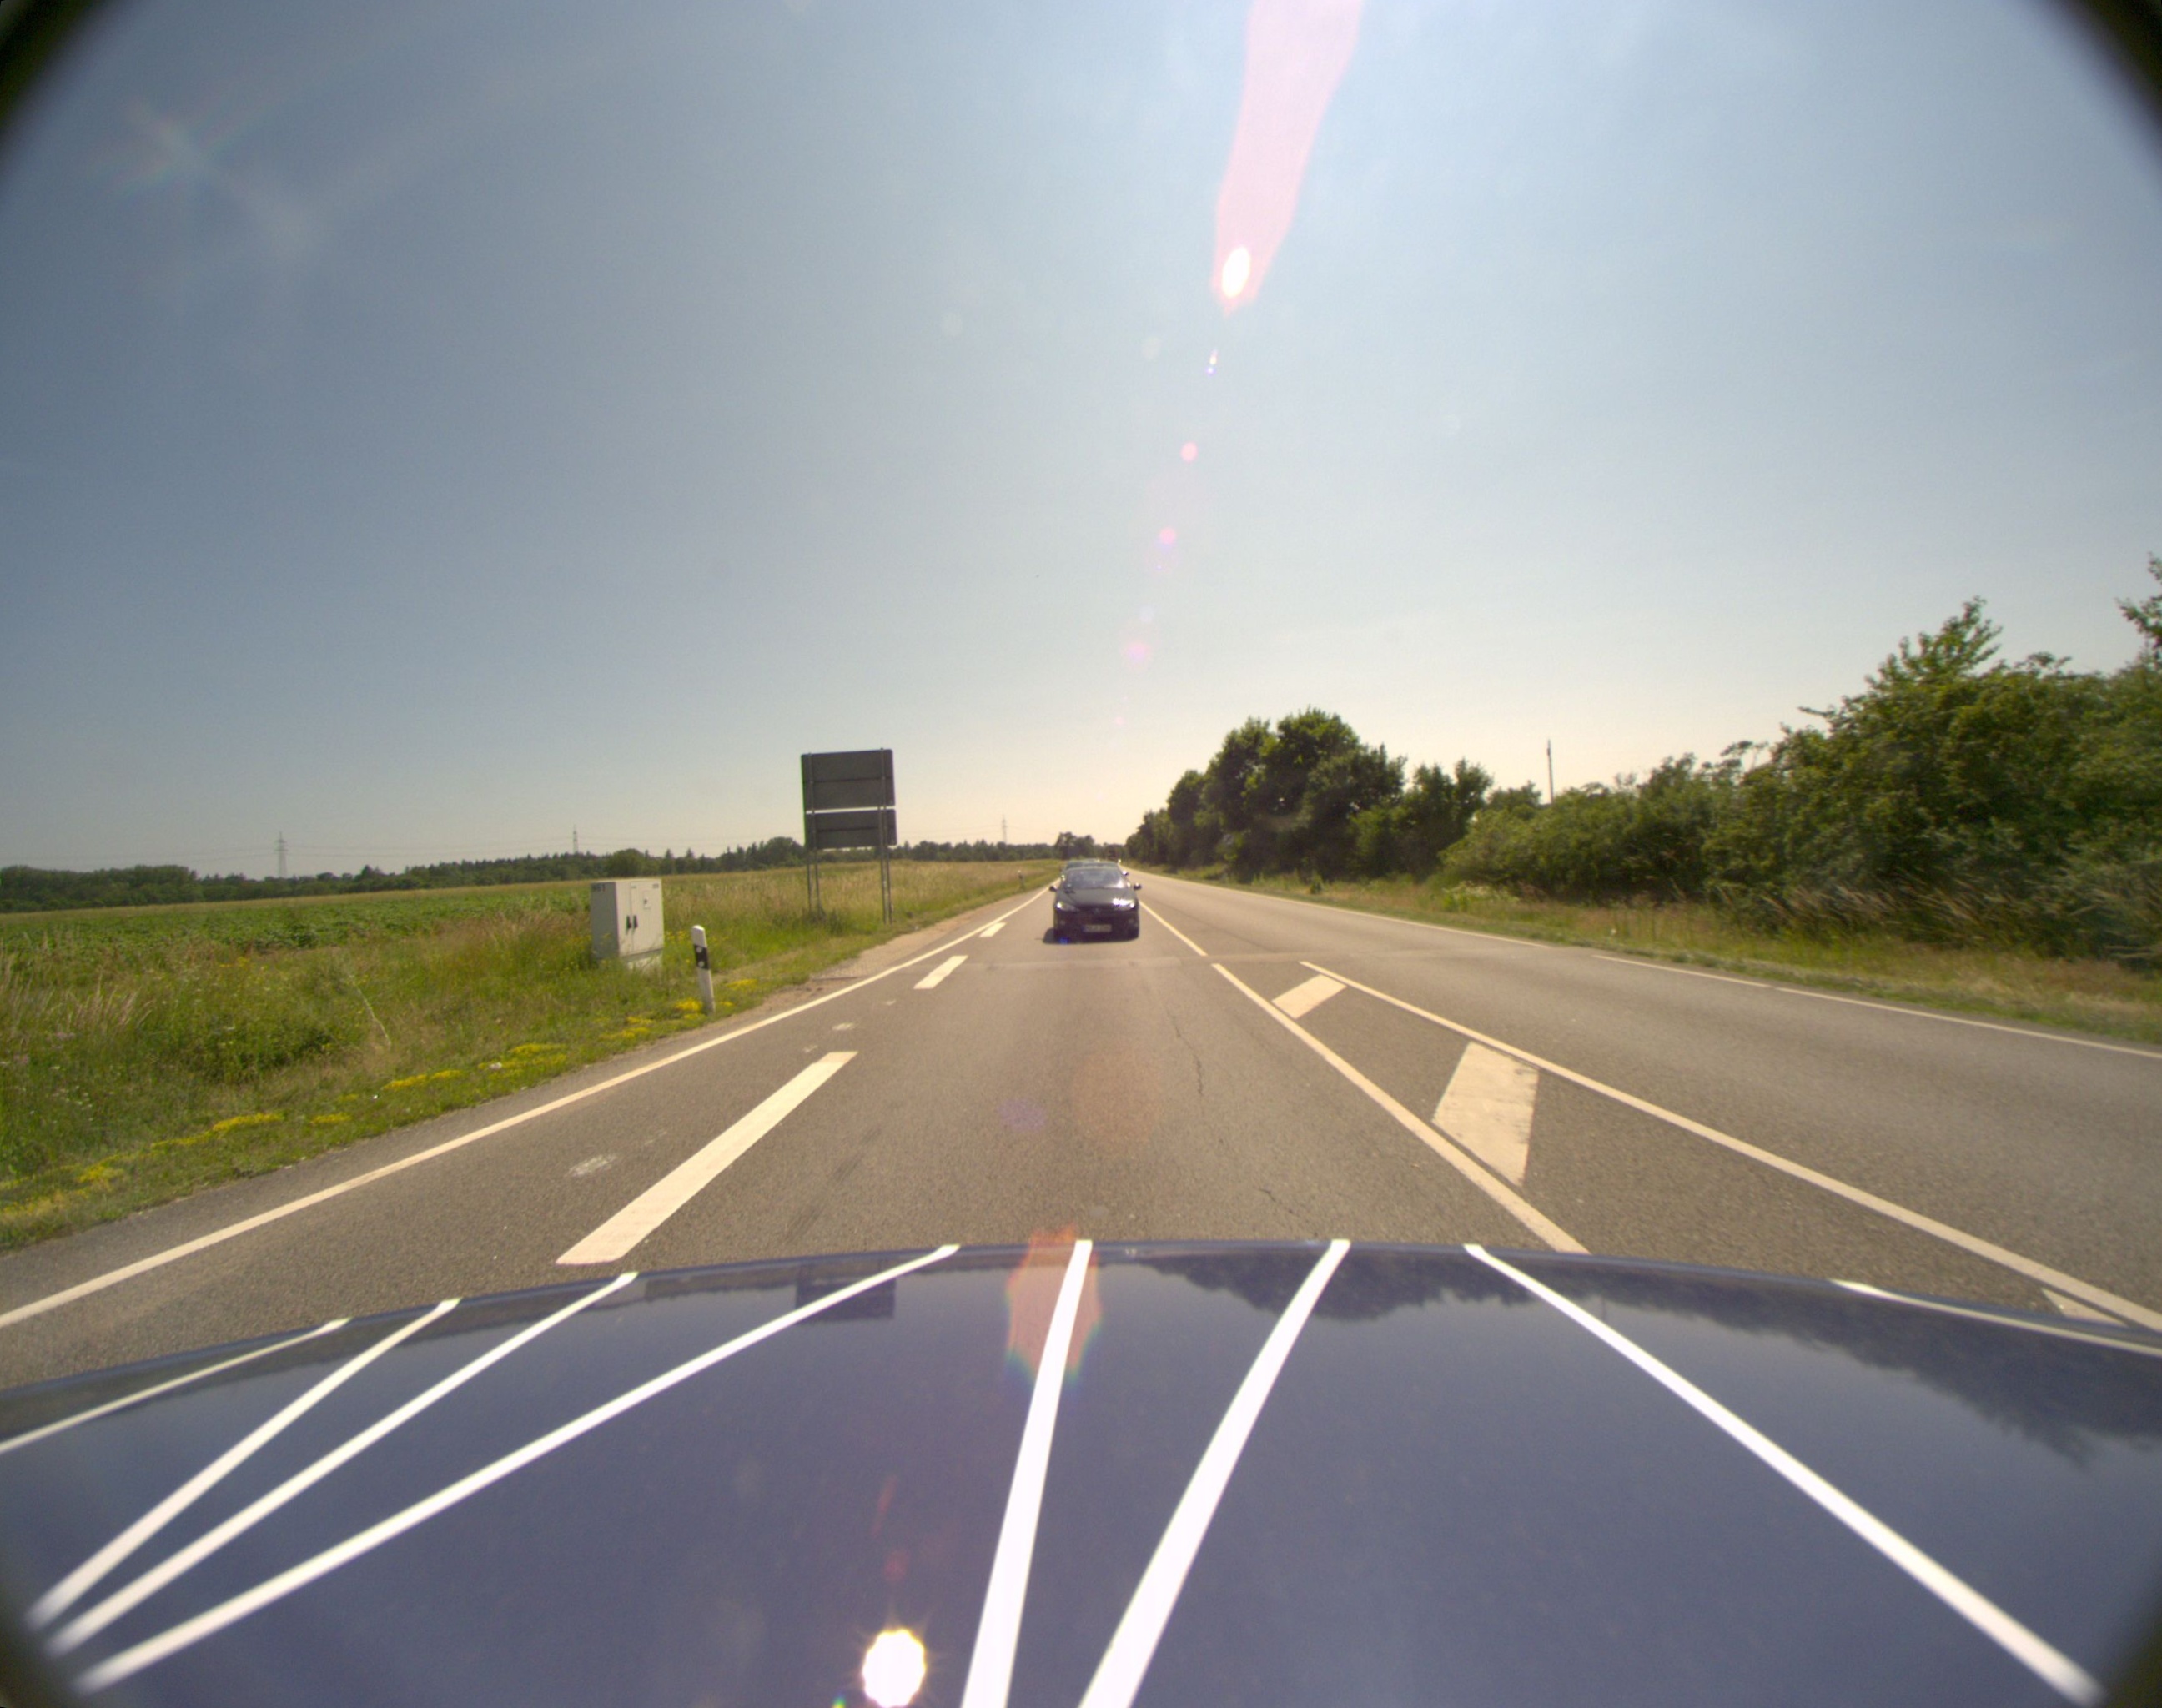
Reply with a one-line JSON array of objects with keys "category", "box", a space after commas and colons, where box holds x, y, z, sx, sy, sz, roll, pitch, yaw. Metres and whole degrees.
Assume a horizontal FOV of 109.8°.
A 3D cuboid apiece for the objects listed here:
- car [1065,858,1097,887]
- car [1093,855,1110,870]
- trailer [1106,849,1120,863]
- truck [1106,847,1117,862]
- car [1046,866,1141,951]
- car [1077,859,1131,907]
[{"category": "car", "box": [-0.037, 0.991, 42.475, 1.665, 1.449, 4.173, -2, 0, -1]}, {"category": "car", "box": [2.029, 0.804, 74.459, 1.588, 1.294, 3.631, -2, 0, 1]}, {"category": "trailer", "box": [8.435, 0.451, 200.672, 2.669, 3.440, 14.948, -1, 0, -1]}, {"category": "truck", "box": [8.363, 0.227, 208.057, 2.709, 3.908, 5.952, -1, 0, -1]}, {"category": "car", "box": [0.257, 1.010, 15.522, 1.665, 1.389, 3.731, -2, 0, 1]}, {"category": "car", "box": [0.747, 0.977, 27.043, 1.665, 1.477, 3.731, -2, 0, -2]}]
